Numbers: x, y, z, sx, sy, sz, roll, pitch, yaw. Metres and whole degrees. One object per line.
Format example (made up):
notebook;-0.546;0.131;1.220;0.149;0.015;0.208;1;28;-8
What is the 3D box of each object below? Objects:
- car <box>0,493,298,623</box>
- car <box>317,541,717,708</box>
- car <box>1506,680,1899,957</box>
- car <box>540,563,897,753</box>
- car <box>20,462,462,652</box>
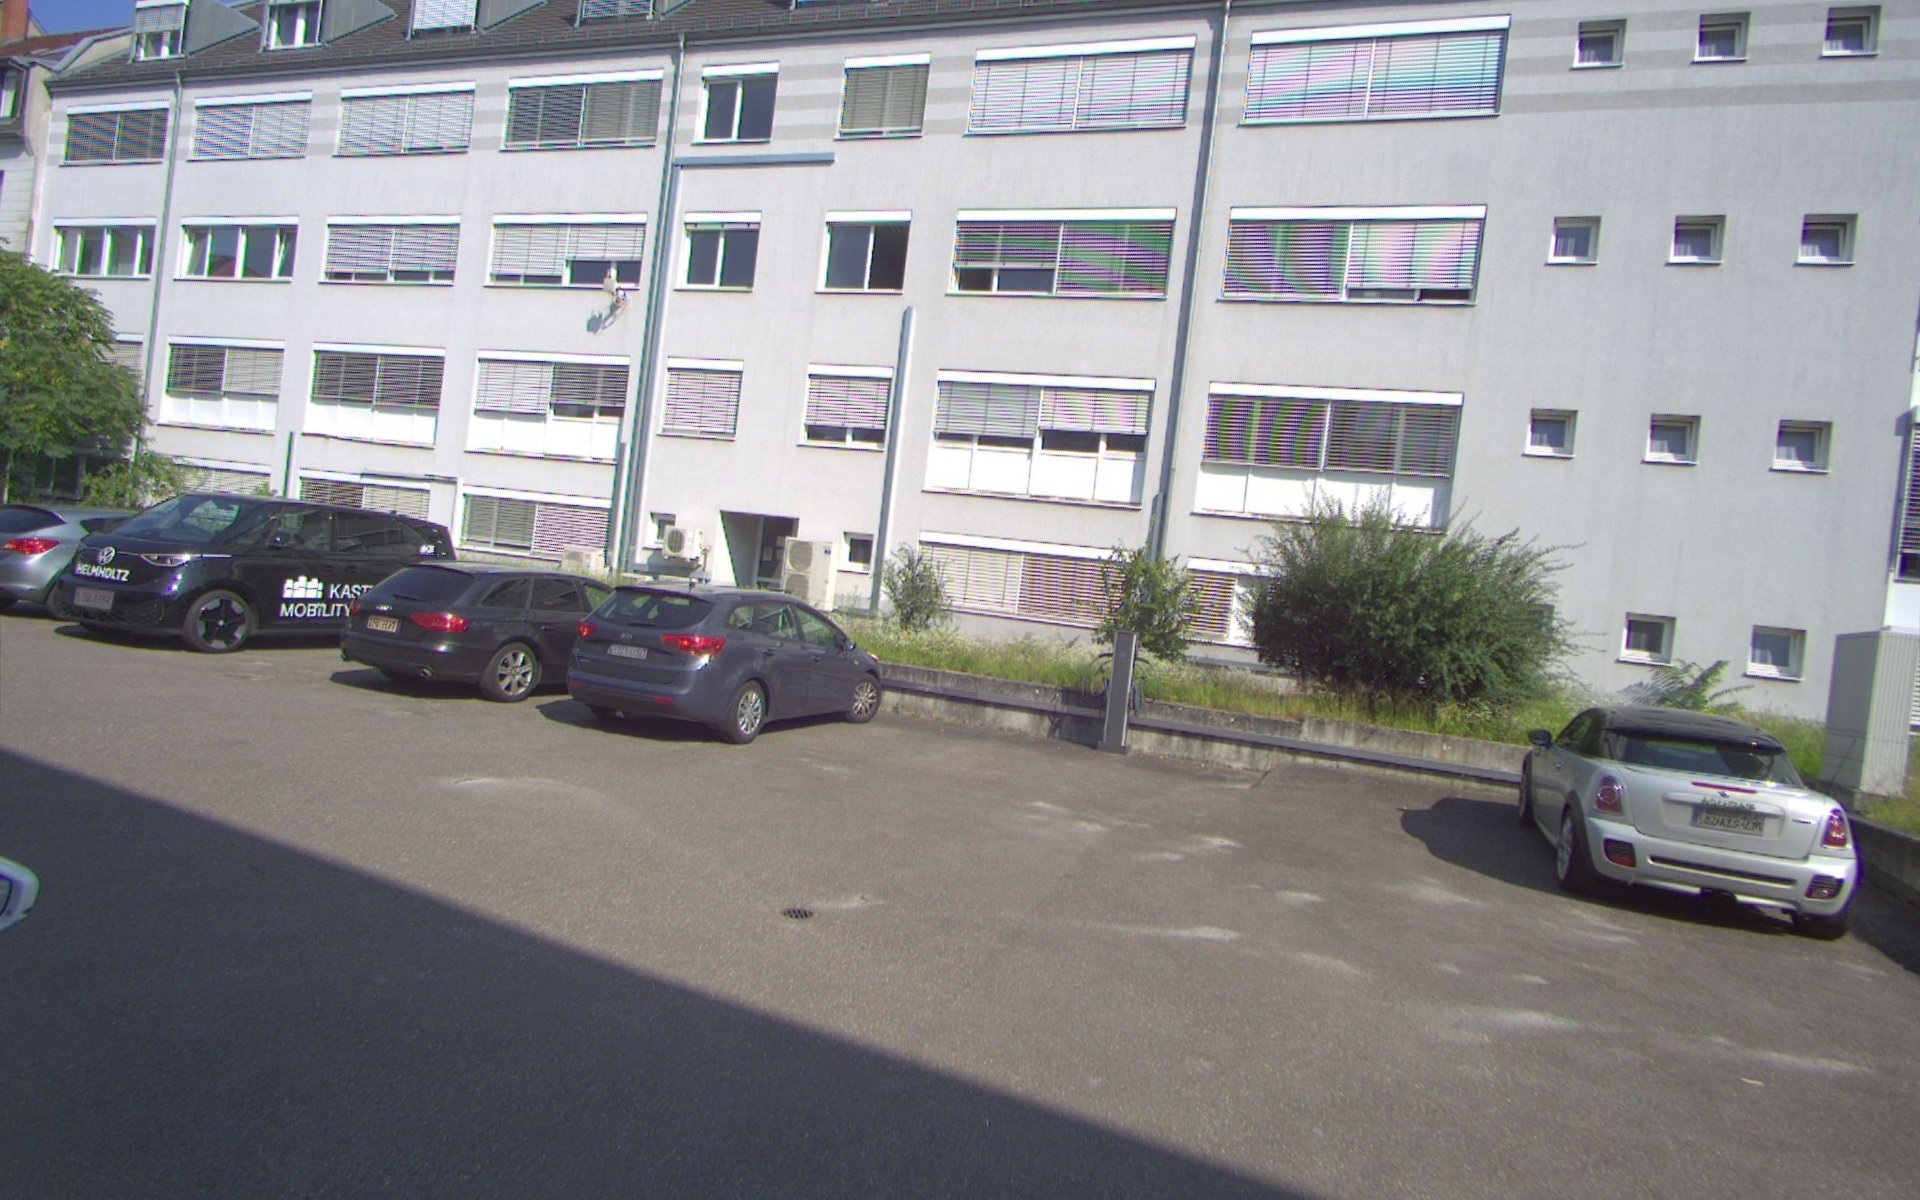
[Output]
car;-11.711;-0.531;14.145;1.631;1.484;3.911;7;0;12
car;-4.919;0.332;11.900;1.660;1.455;4.244;7;0;23
car;5.784;1.549;8.361;1.628;1.455;3.580;7;0;22
car;-2.360;0.596;11.020;1.710;1.496;4.059;7;0;20
car;-8.982;-0.409;13.131;1.878;1.882;4.350;7;0;15
